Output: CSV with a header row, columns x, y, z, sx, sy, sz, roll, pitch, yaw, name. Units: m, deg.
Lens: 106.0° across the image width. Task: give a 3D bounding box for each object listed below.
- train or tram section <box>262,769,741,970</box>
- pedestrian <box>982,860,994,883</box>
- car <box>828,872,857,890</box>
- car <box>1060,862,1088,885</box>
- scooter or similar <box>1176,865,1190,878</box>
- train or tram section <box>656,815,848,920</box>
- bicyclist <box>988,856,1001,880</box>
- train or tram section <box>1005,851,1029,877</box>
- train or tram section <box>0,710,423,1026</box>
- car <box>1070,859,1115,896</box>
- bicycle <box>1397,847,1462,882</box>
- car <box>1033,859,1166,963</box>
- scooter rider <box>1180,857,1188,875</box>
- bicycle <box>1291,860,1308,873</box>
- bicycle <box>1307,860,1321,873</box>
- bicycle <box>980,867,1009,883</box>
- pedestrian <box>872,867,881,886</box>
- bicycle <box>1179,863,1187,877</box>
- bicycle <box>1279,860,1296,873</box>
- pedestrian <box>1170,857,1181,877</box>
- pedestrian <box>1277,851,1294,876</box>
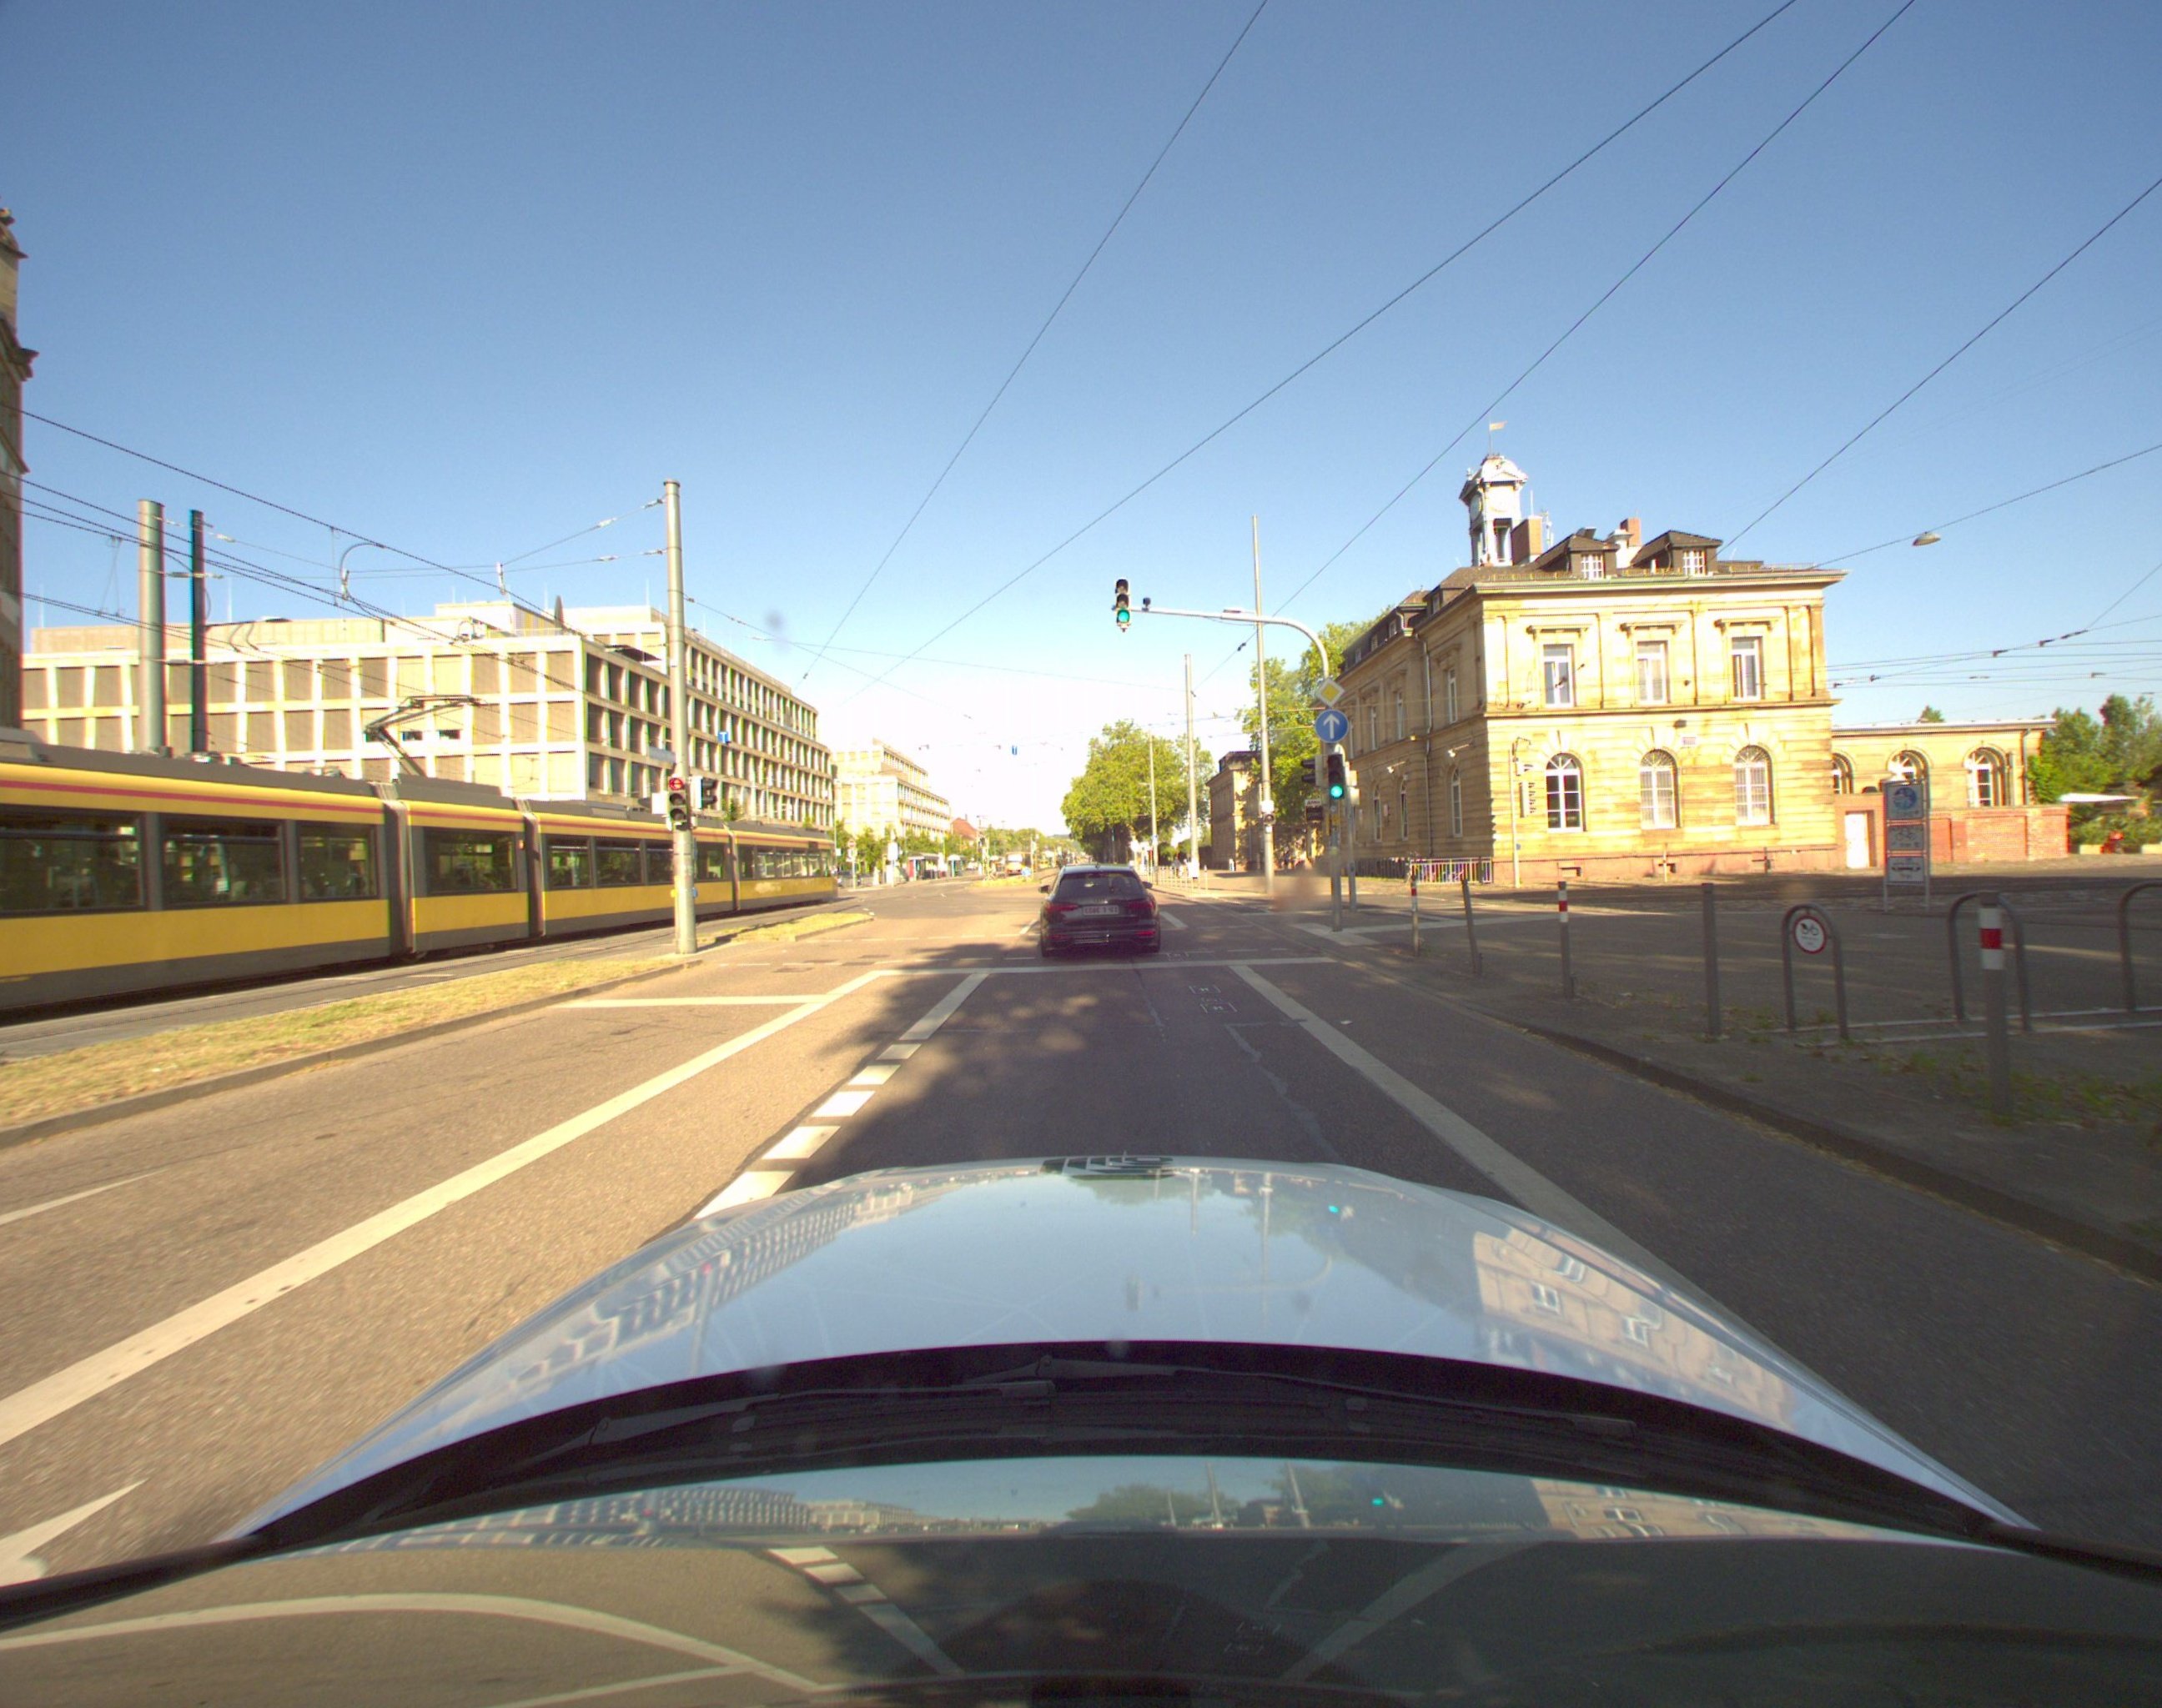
x,y,z,sx,sy,sz,roll,pitch,yaw,name
-13.175,0.344,21.235,2.803,3.489,13.203,-2,-1,1,train or tram section
-7.218,1.333,63.389,0.743,1.741,0.659,-2,-1,-21,pedestrian
-25.852,2.943,88.321,1.836,1.812,4.112,-2,-1,0,car
-0.495,1.362,59.335,1.896,1.486,4.145,-2,0,1,car
8.063,1.382,64.429,0.936,0.966,0.361,-3,-2,-2,scooter or similar
-12.992,0.516,33.915,2.803,3.489,12.153,-2,-1,1,train or tram section
-6.589,1.078,61.816,0.760,1.819,0.759,-2,-1,-23,bicyclist
-8.902,1.400,114.443,2.601,3.451,11.126,-2,-1,-1,train or tram section
-13.339,0.190,7.999,2.803,3.489,13.203,-2,-1,1,train or tram section
0.522,1.040,37.248,1.896,1.486,4.145,-2,0,1,car
13.534,0.399,31.631,2.131,1.209,0.765,-3,-1,-2,bicycle
0.309,0.843,13.992,1.896,1.421,4.145,-2,0,1,car
8.151,0.970,64.443,0.483,1.385,0.377,-3,-2,-2,scooter rider
18.859,1.073,70.269,0.525,1.047,2.353,-2,-1,-7,bicycle
20.250,1.069,70.800,0.524,1.047,2.231,-2,-1,2,bicycle
-6.547,1.610,61.809,2.014,1.108,0.758,-2,-1,-23,bicycle
-18.664,2.028,74.225,0.620,1.664,0.510,-2,-1,-25,pedestrian
8.403,1.294,67.094,0.433,1.145,1.339,-2,-1,-1,bicycle
17.798,1.089,70.290,0.525,1.047,2.353,-2,-1,-7,bicycle
7.772,1.065,67.072,0.680,1.661,0.758,-2,-1,-1,pedestrian
15.462,0.722,61.591,0.979,1.865,0.824,-2,-1,-10,pedestrian
